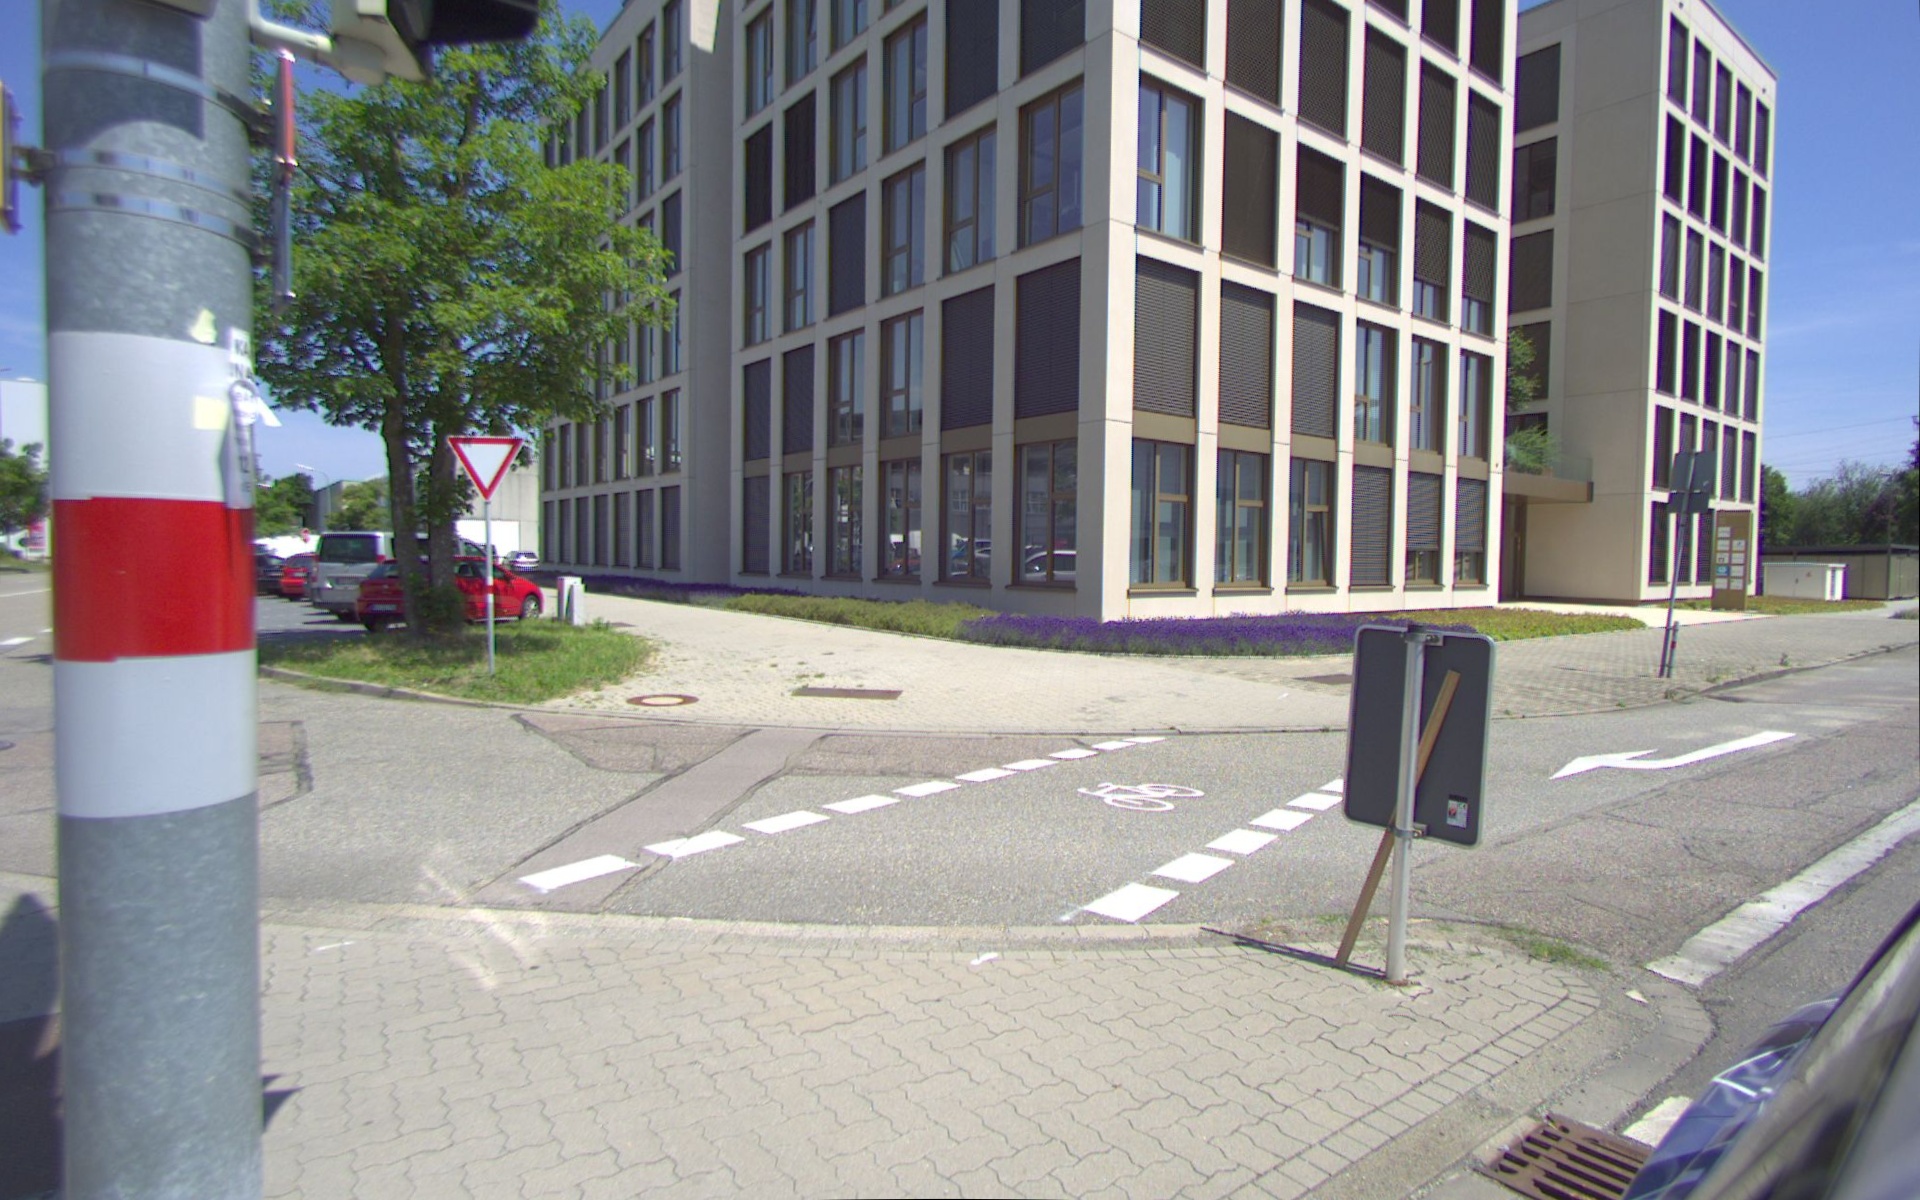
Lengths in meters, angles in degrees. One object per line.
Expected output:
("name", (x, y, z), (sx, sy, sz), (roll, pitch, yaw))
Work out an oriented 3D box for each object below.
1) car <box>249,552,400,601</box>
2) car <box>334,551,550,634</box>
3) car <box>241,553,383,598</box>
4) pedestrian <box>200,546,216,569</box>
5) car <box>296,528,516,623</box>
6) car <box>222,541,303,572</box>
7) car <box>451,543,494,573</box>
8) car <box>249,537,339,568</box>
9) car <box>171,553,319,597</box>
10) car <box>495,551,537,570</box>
("car", (-19.524, -0.764, 31.309), (1.887, 1.370, 3.993), (1, 2, 7))
("car", (-10.103, -0.233, 20.116), (1.674, 1.449, 3.987), (1, 3, 12))
("car", (-21.301, -0.841, 33.471), (1.843, 1.392, 3.993), (1, 2, 7))
("pedestrian", (-55.878, -3.142, 75.202), (0.857, 1.697, 0.758), (0, 2, -33))
("car", (-12.406, -0.570, 23.109), (1.887, 1.910, 4.924), (1, 2, 7))
("car", (-47.842, -2.955, 69.452), (4.492, 2.039, 1.999), (-1, 1, -37))
("car", (-30.755, -2.635, 63.791), (1.762, 1.749, 4.000), (-1, 1, -35))
("car", (-58.712, -4.168, 89.305), (6.569, 2.552, 2.218), (-1, 1, -36))
("car", (-23.928, -0.875, 34.065), (1.887, 1.349, 3.993), (1, 2, 7))
("car", (-28.806, -2.534, 65.600), (1.664, 1.171, 3.999), (-1, 1, -36))
